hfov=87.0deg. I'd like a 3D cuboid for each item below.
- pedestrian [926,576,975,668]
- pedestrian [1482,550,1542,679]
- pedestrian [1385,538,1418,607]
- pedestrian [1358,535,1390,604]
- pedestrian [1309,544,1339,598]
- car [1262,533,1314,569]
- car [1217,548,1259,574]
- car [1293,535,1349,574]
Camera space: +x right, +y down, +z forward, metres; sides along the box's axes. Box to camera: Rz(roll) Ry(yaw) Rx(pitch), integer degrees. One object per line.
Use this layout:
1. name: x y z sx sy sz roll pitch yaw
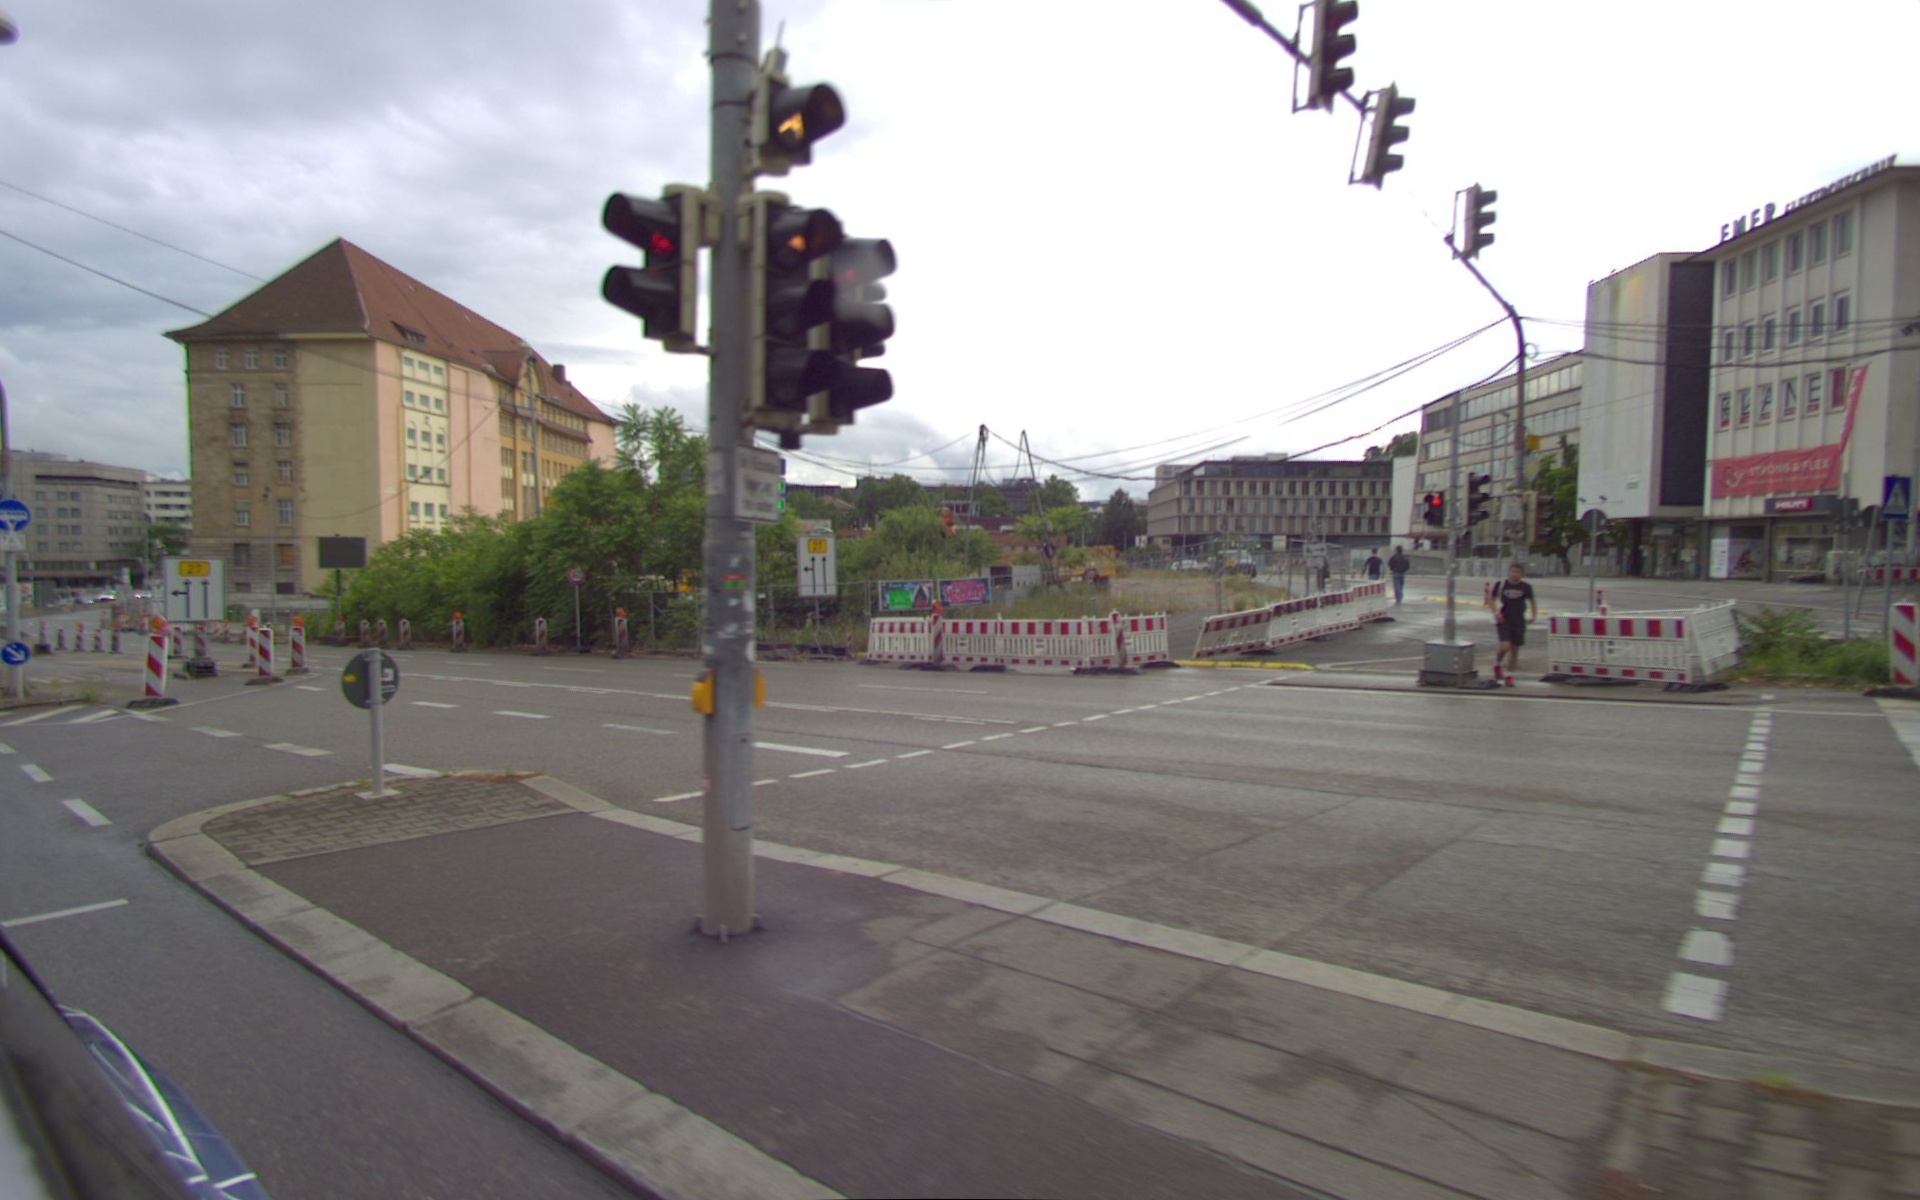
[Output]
1. pedestrian: -0.206 0.448 21.977 0.742 1.936 0.752 2 3 44
2. pedestrian: 8.390 0.199 15.382 0.745 1.894 0.735 1 2 32
3. pedestrian: 14.052 -0.887 32.223 0.738 2.156 0.742 -1 2 5
4. pedestrian: 13.236 -0.980 32.372 0.738 2.187 0.701 0 2 5
5. pedestrian: 13.036 -1.025 36.264 0.758 1.866 0.783 -2 1 5
6. car: 19.081 -2.850 59.103 1.974 2.028 3.995 0 2 4
7. car: 18.687 -2.618 68.250 1.974 1.718 3.995 0 2 4
8. car: 18.961 -2.367 53.311 1.791 1.980 3.995 0 2 4
